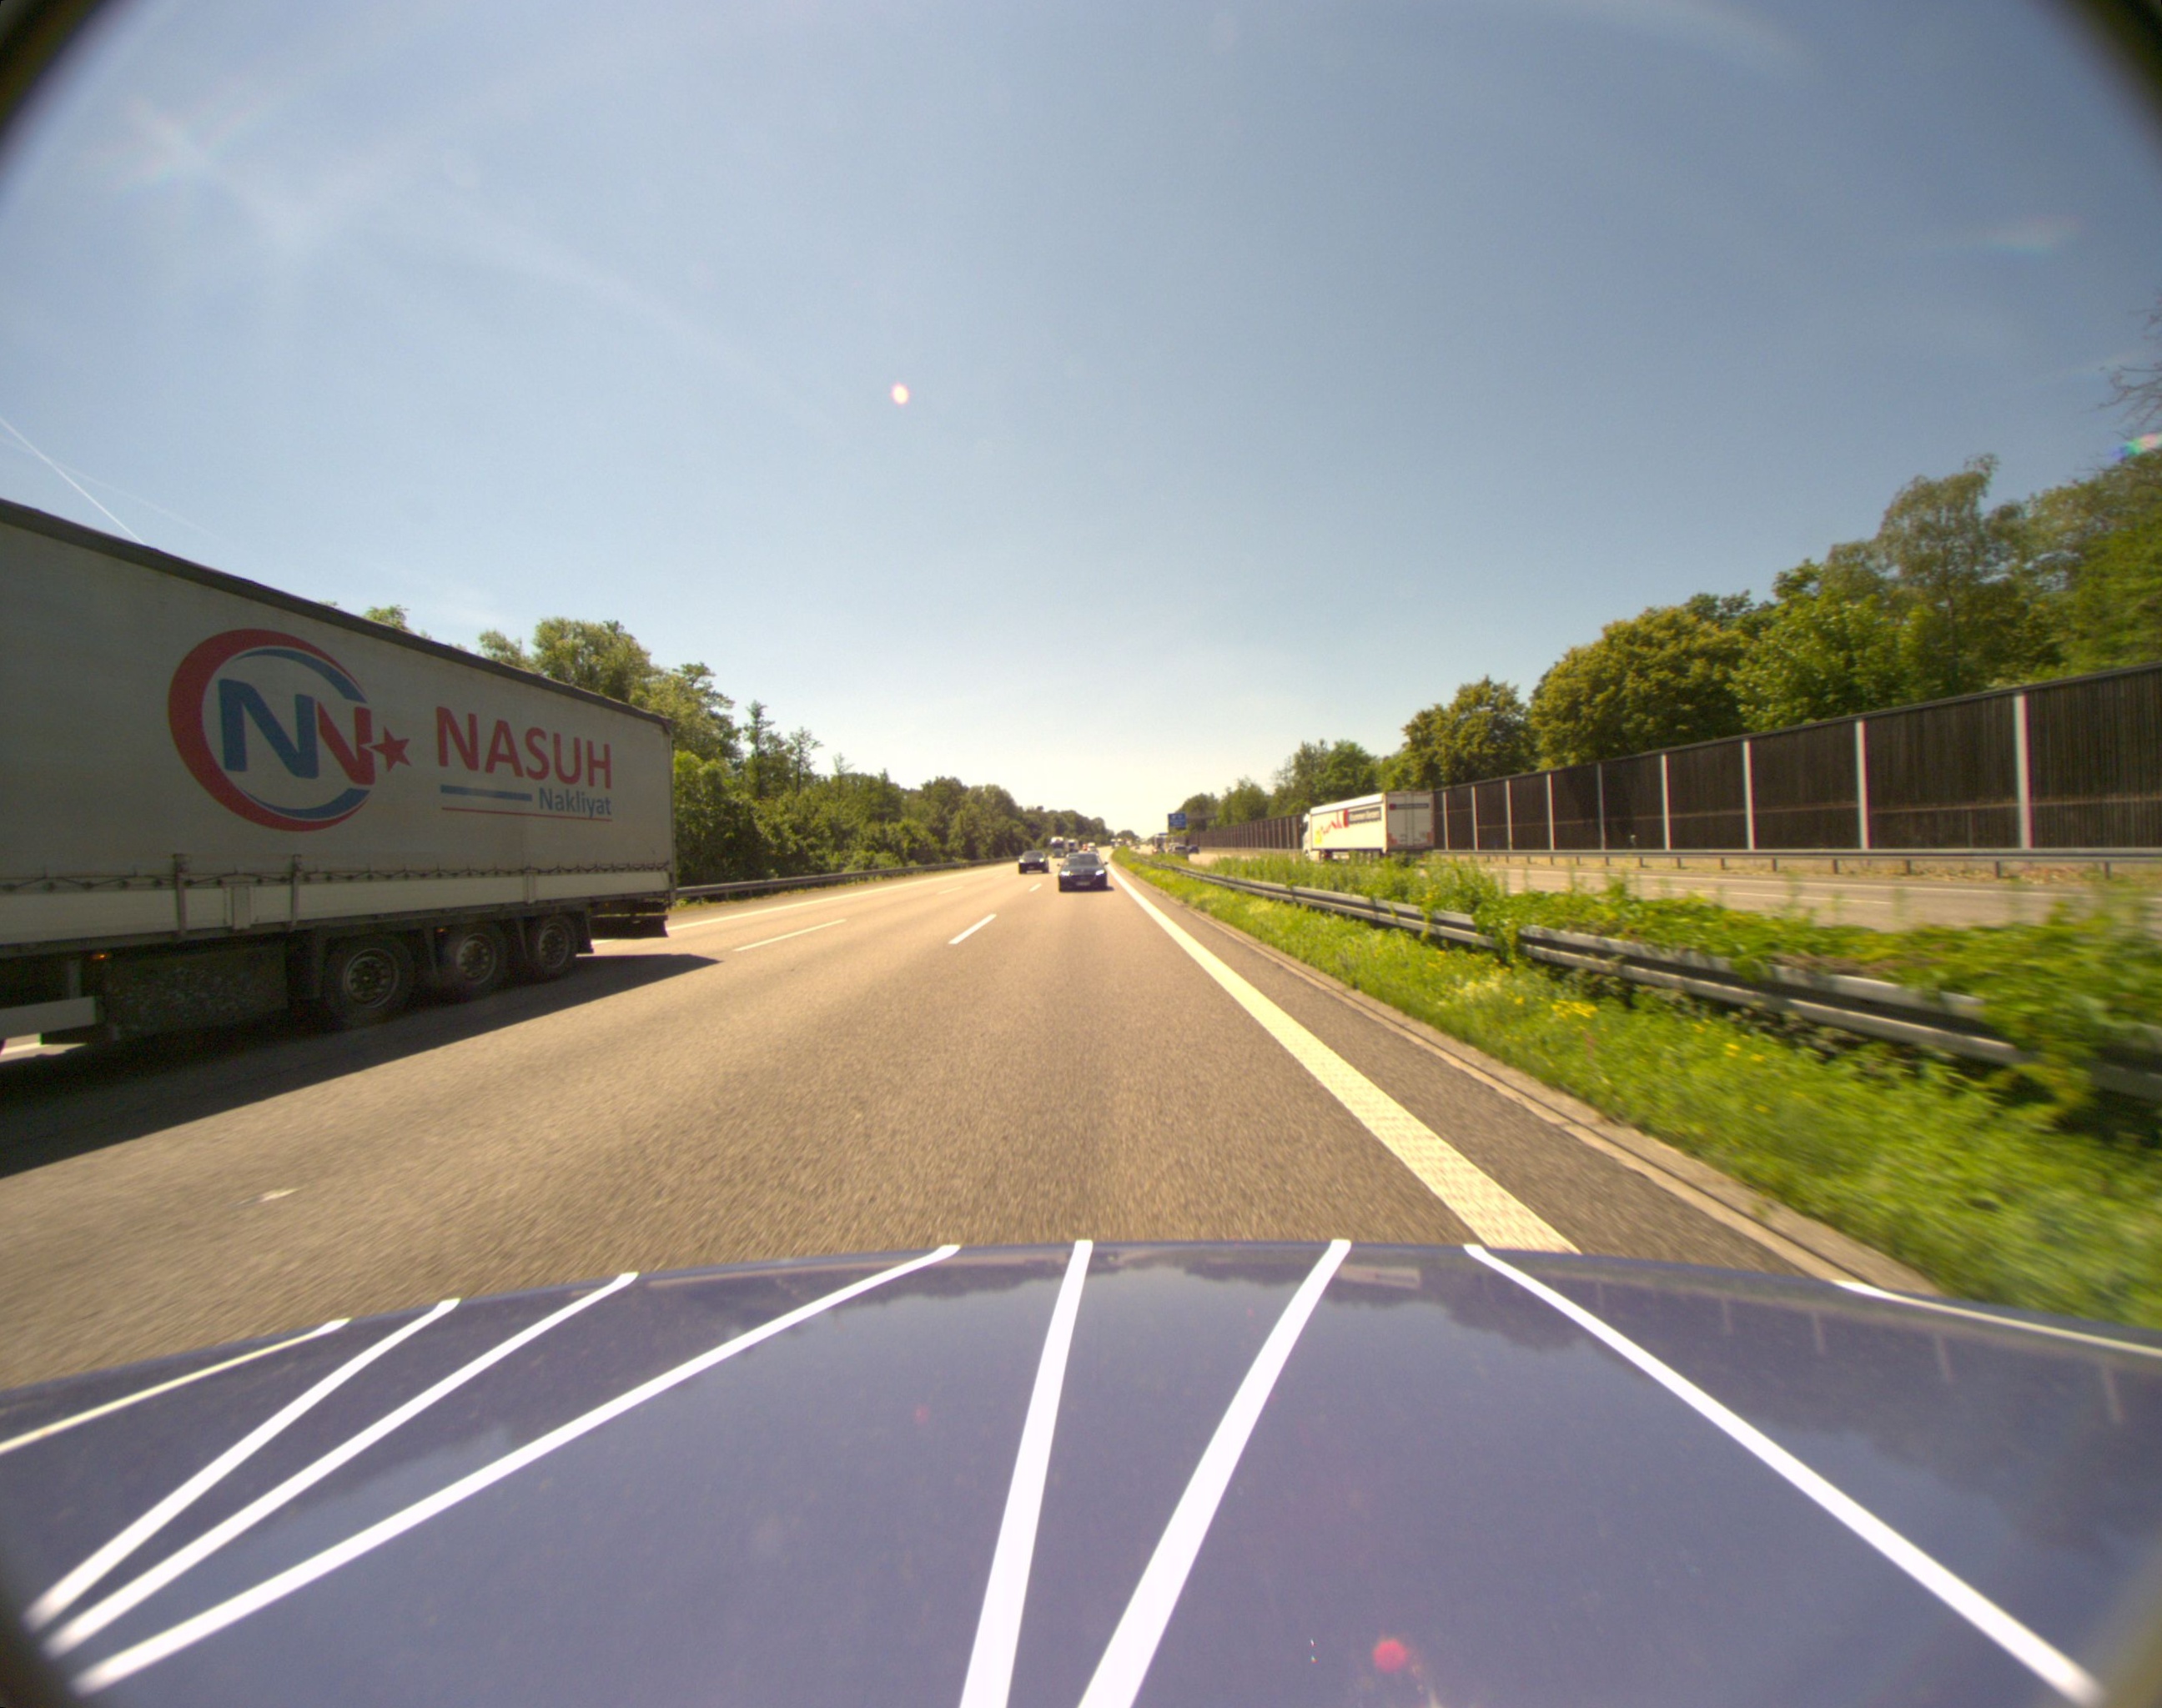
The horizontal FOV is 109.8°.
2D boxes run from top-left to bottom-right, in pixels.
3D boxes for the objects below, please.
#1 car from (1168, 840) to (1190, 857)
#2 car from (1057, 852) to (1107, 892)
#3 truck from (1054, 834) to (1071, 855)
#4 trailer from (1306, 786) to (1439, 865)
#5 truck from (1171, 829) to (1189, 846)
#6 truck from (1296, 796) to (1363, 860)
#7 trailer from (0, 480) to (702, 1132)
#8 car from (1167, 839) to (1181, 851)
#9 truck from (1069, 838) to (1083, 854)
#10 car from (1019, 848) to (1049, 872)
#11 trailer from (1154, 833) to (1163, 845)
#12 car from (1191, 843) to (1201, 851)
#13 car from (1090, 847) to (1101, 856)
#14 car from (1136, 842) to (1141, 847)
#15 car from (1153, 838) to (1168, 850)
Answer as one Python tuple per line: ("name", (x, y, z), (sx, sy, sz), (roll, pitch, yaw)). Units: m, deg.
("car", (10.153, -0.573, 79.007), (1.770, 1.642, 4.038), (-2, 1, 1))
("car", (0.100, 0.668, 30.897), (1.800, 1.390, 4.833), (-2, 1, 1))
("truck", (-3.670, -1.923, 149.877), (2.729, 3.952, 6.501), (-2, 1, 2))
("trailer", (17.466, -1.609, 47.091), (2.761, 4.051, 14.387), (-2, 1, 1))
("truck", (21.767, -3.579, 167.449), (2.840, 3.589, 8.744), (-2, 1, 2))
("truck", (17.545, -1.775, 54.091), (2.737, 4.169, 6.035), (-2, 1, 1))
("trailer", (-8.304, -0.312, 6.586), (2.630, 4.237, 14.058), (-2, 1, 1))
("car", (15.865, -1.503, 129.397), (1.931, 1.934, 4.608), (-2, 1, 1))
("truck", (-1.234, -1.999, 199.809), (3.049, 3.947, 14.453), (-2, 1, 2))
("car", (-3.441, 0.404, 56.171), (1.862, 1.614, 3.736), (-2, 1, 1))
("trailer", (27.156, -5.142, 266.633), (2.490, 4.112, 13.653), (-2, 1, 3))
("car", (20.113, -1.224, 132.485), (1.282, 1.248, 3.028), (-2, 1, 1))
("car", (2.899, -0.464, 154.721), (1.879, 1.630, 4.001), (-2, 1, 5))
("car", (19.273, -3.286, 256.150), (1.587, 1.579, 4.000), (-2, 1, 3))
("car", (11.445, -1.425, 109.920), (1.717, 1.534, 4.361), (-2, 1, 0))
